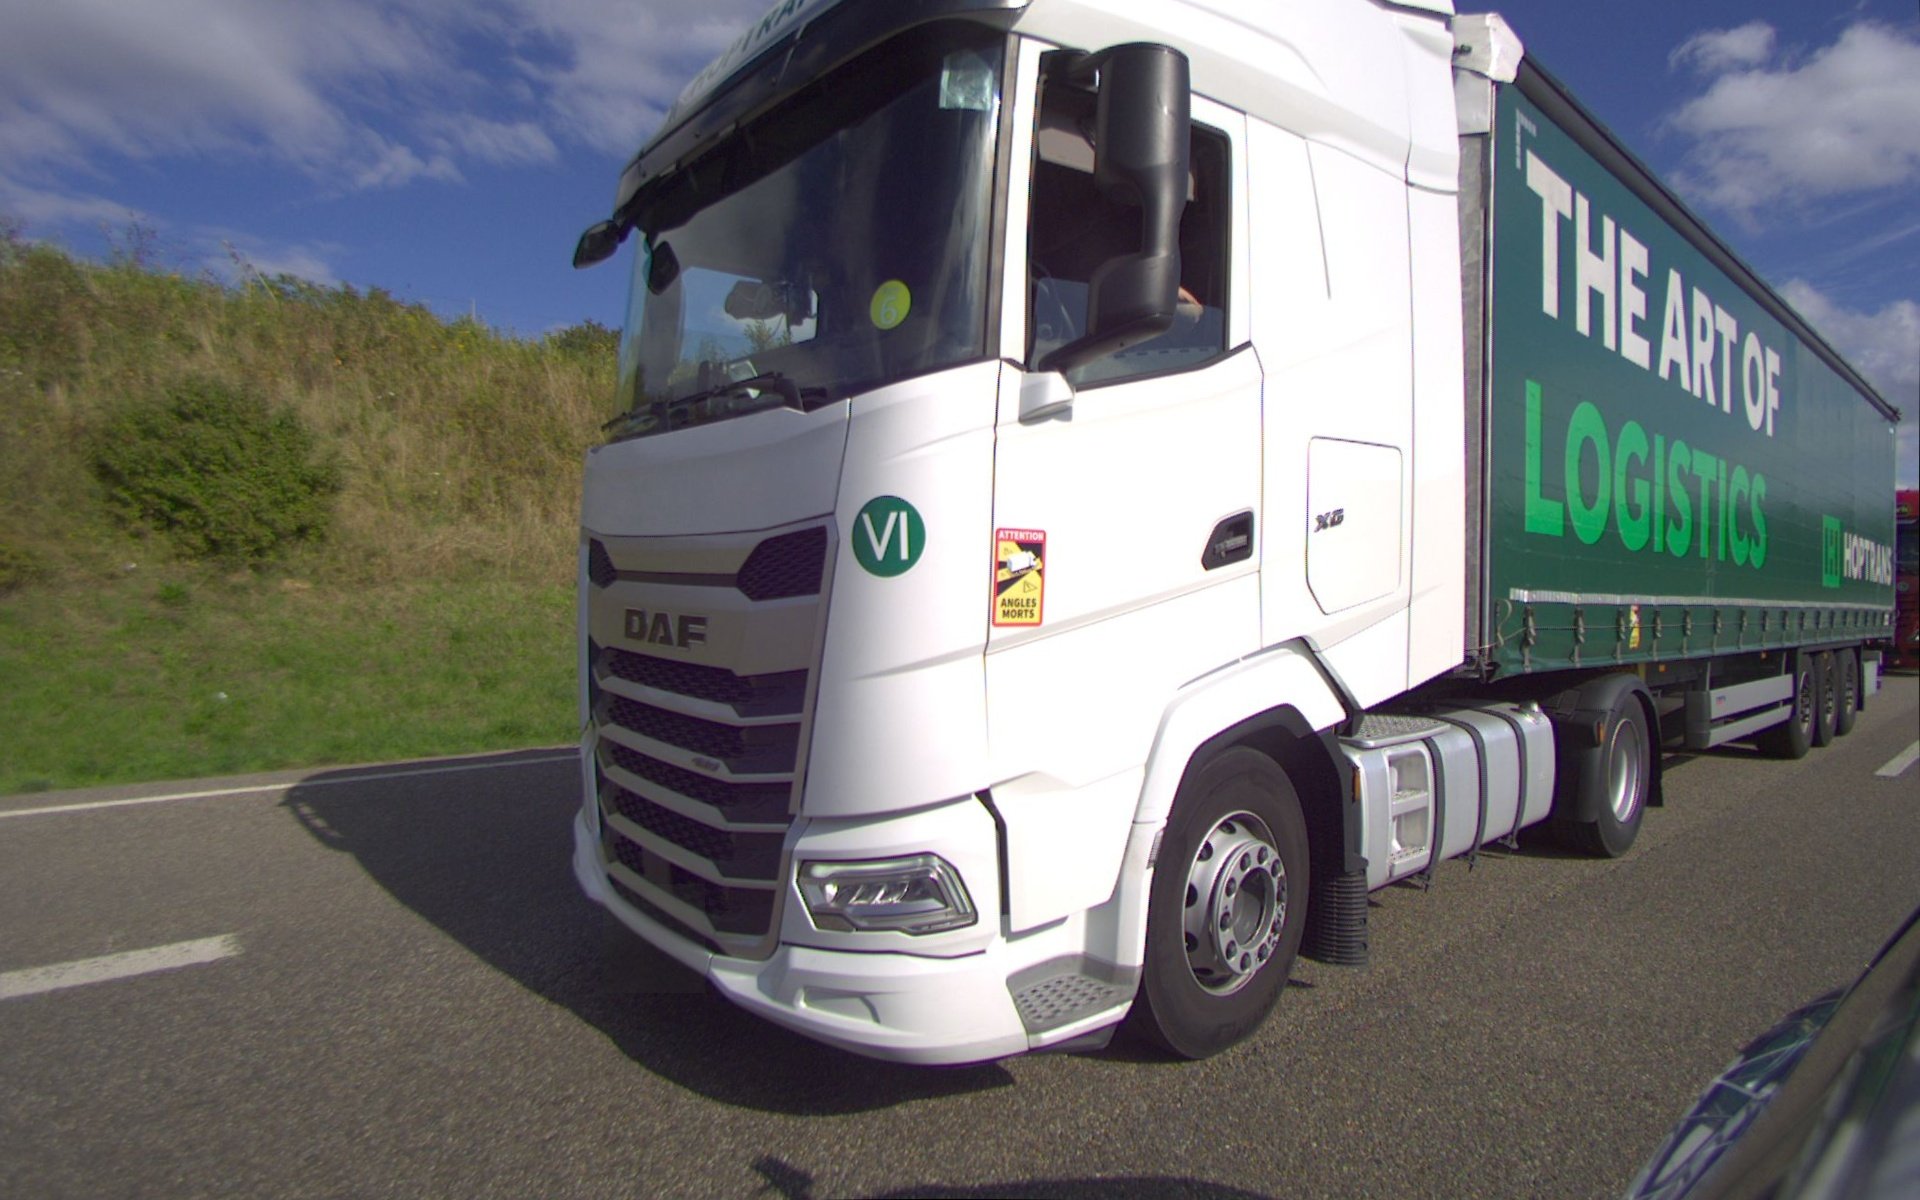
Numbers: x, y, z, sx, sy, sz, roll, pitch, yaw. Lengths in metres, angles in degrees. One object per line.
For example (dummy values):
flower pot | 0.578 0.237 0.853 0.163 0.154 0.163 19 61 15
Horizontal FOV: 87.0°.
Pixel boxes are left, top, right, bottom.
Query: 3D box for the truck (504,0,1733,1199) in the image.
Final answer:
truck | 1.592 -0.583 5.358 6.874 3.917 2.651 0 0 -41

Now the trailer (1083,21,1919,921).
trailer | 6.607 -0.623 9.742 13.160 3.917 2.666 -1 0 -41

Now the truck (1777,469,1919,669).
truck | 20.741 -0.634 22.598 5.723 3.989 2.807 0 -1 -40

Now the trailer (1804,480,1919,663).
trailer | 25.459 -0.665 26.609 12.839 3.989 2.797 -1 0 -40
